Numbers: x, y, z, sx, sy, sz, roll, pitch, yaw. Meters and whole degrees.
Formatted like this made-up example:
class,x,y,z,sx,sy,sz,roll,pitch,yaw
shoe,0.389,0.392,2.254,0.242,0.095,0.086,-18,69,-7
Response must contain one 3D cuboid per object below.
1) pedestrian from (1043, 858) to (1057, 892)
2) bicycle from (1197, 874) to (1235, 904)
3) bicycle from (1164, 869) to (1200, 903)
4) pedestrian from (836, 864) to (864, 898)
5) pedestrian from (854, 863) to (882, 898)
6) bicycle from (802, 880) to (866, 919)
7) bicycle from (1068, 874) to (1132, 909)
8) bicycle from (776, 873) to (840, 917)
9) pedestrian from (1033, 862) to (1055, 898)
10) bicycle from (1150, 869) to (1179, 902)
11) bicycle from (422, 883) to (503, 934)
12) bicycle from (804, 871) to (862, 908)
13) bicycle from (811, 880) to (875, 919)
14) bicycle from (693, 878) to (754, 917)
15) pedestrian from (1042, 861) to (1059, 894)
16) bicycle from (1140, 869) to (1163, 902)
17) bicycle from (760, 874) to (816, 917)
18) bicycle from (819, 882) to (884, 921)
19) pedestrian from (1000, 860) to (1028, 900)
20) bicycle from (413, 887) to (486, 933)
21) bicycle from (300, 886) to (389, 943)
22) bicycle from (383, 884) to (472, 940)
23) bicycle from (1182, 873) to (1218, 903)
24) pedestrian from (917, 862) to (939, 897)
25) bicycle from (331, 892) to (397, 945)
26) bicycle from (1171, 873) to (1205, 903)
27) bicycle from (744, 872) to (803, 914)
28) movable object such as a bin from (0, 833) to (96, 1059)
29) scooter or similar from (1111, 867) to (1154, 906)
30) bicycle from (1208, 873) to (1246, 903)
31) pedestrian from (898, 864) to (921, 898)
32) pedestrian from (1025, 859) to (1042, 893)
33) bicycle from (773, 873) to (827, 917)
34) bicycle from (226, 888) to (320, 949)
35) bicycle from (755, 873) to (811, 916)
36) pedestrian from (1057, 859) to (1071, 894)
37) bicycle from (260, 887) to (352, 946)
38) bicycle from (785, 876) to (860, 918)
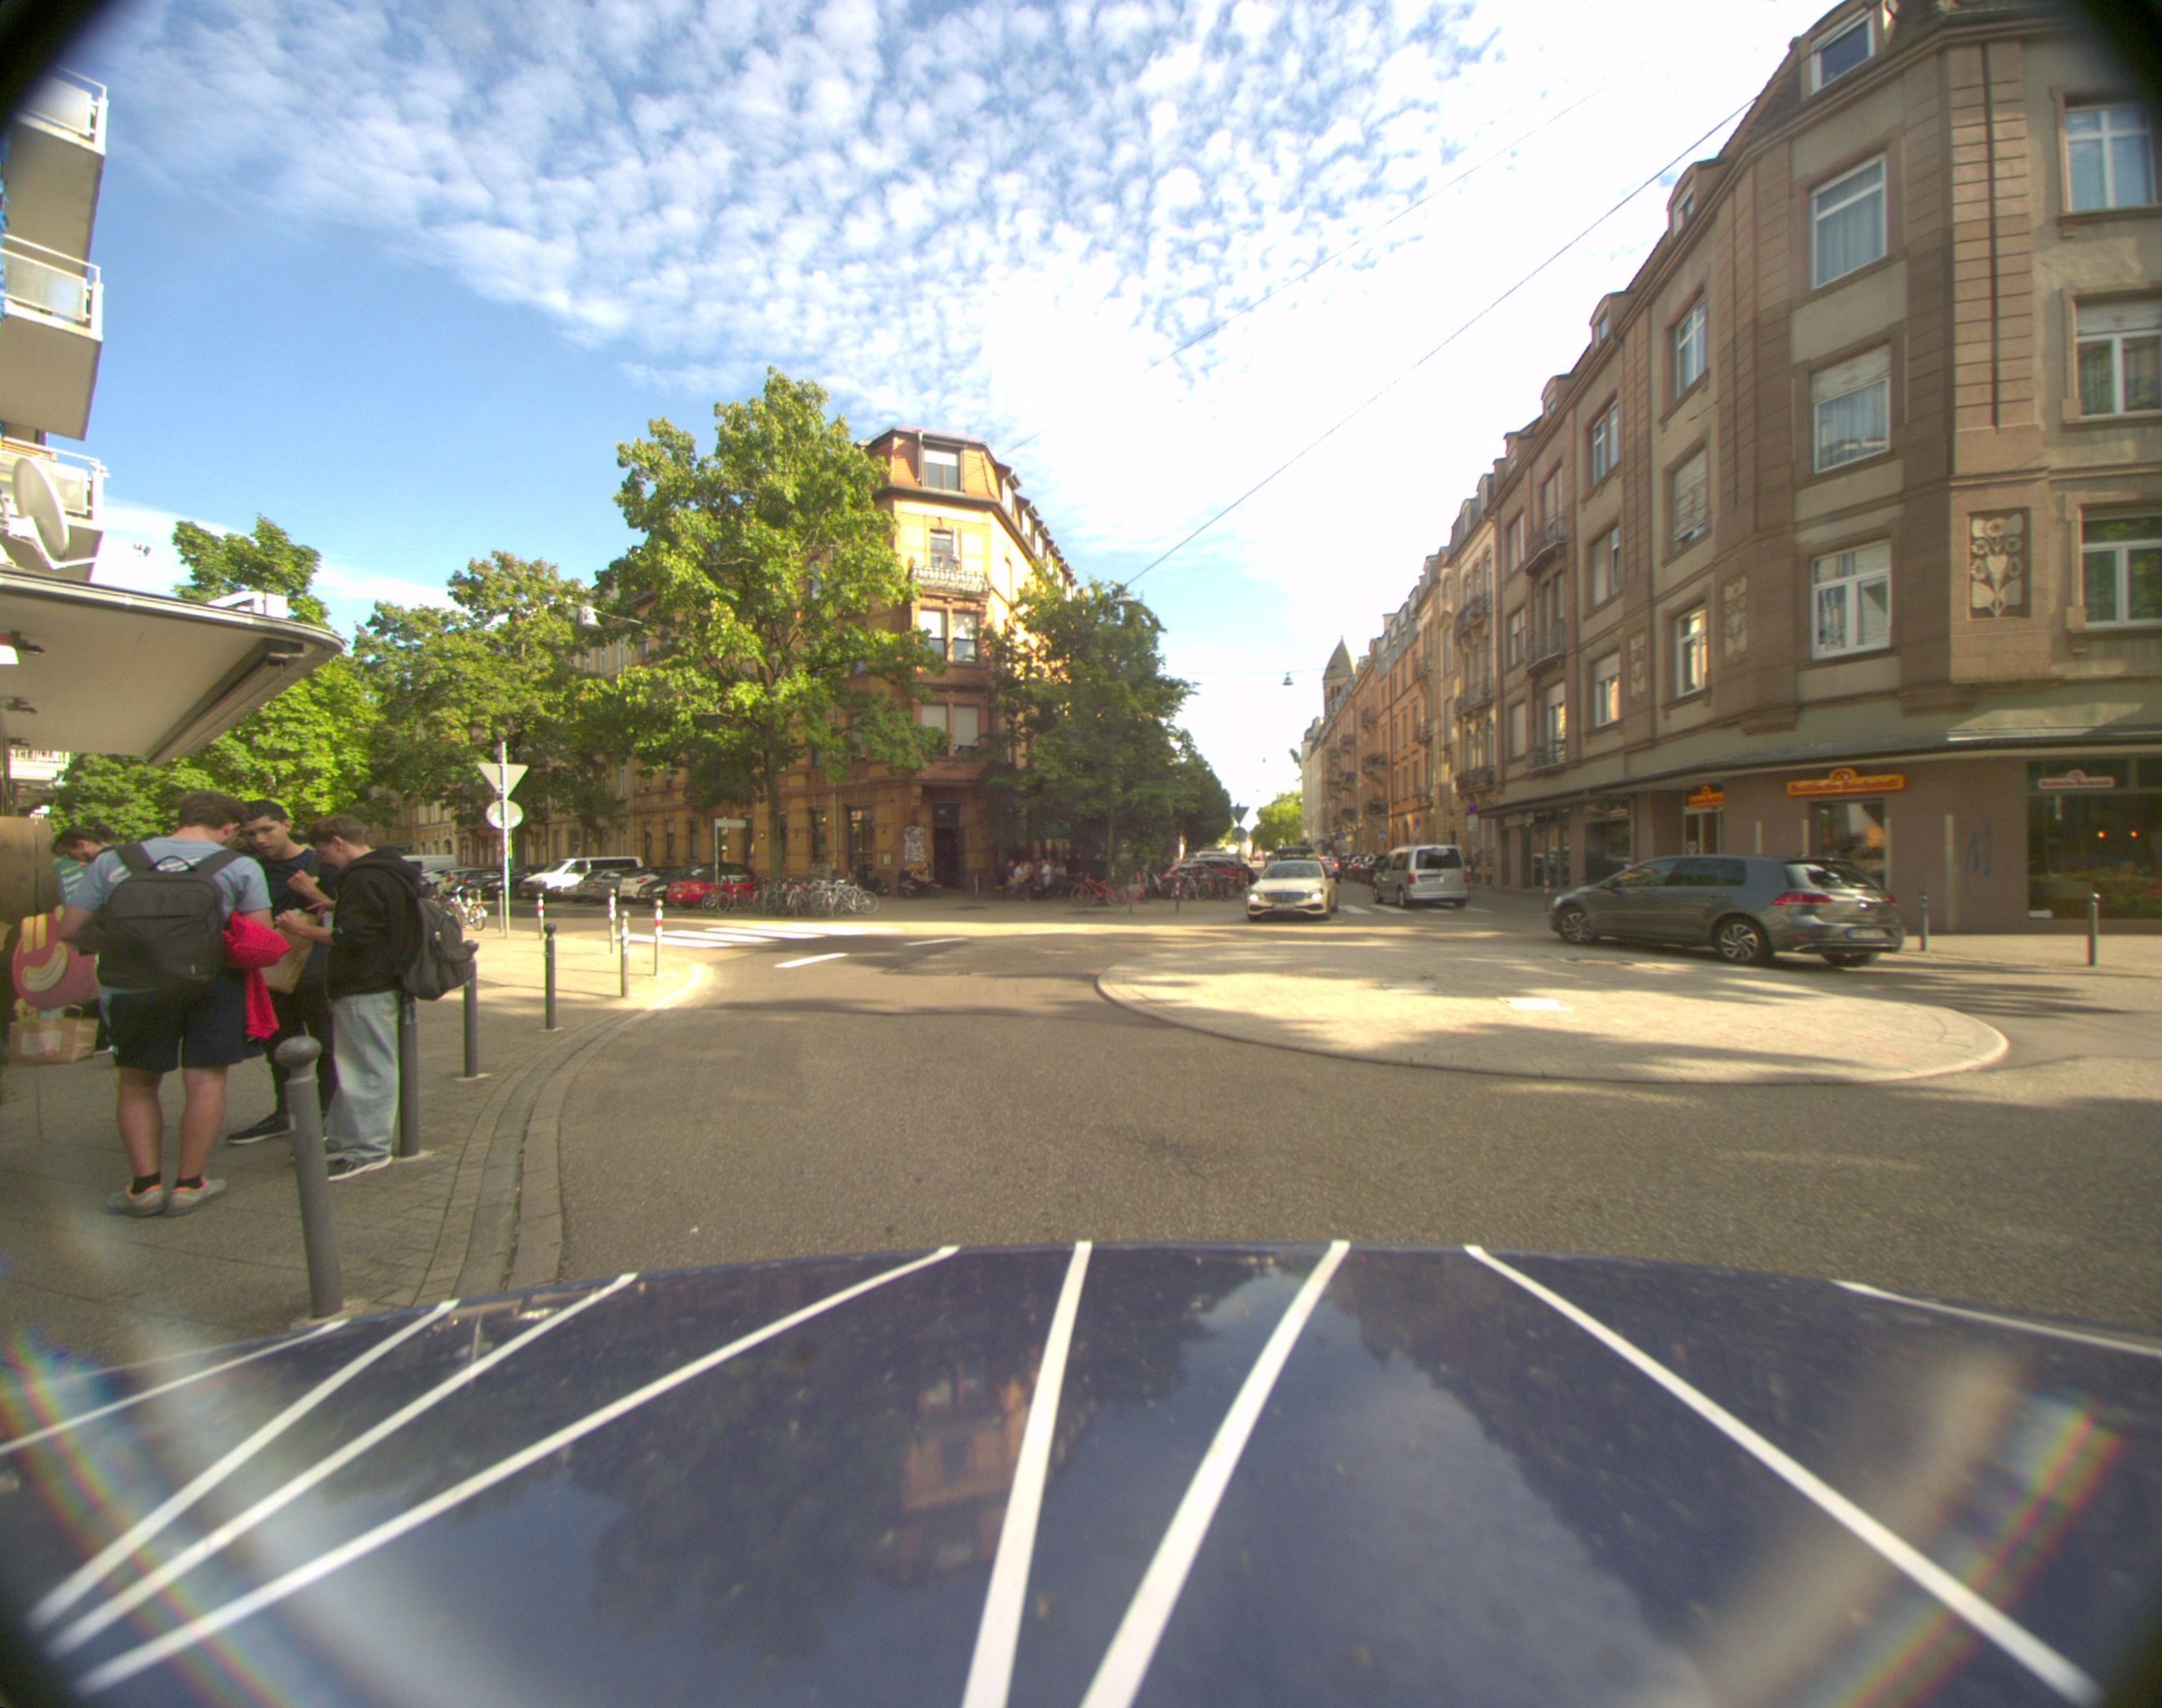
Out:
class,x,y,z,sx,sy,sz,roll,pitch,yaw
pedestrian,-1.240,0.838,30.203,0.467,1.320,0.621,-1,1,-12
bicycle,4.911,1.256,27.777,0.472,0.979,1.862,1,1,-19
bicycle,3.597,1.124,27.087,0.476,1.136,1.835,1,1,-19
pedestrian,-9.059,1.056,29.827,0.627,1.278,0.770,-1,2,35
pedestrian,-8.261,1.025,29.430,0.627,1.278,0.770,-1,2,35
bicycle,-7.188,1.304,22.187,1.715,0.981,0.447,-3,3,-40
bicycle,0.577,1.119,22.888,1.854,1.029,0.684,0,1,11
bicycle,-8.149,1.200,22.713,1.715,1.195,0.447,-3,3,-40
pedestrian,-1.332,0.933,27.444,0.729,1.307,0.608,0,0,0
bicycle,2.999,1.119,27.404,0.475,1.094,1.673,1,1,-13
bicycle,-14.611,1.272,17.940,1.850,1.169,0.414,-1,-1,12
bicycle,-8.384,1.194,25.765,0.598,1.108,1.803,1,3,41
bicycle,-6.843,1.304,21.913,1.715,0.981,0.447,-3,3,-40
bicycle,-11.182,1.326,23.740,2.493,1.090,0.583,0,4,38
pedestrian,-1.161,0.894,29.024,0.549,1.225,0.621,-1,1,-12
bicycle,2.518,1.112,27.279,0.434,1.094,1.673,1,1,-8
bicycle,-9.067,1.259,23.570,0.447,1.195,1.715,0,2,29
bicycle,-6.506,1.323,21.608,1.715,0.964,0.447,-3,3,-40
pedestrian,-2.357,0.901,26.839,0.671,1.371,0.715,-2,1,-43
bicycle,-14.278,1.253,17.189,1.421,0.995,0.493,-1,-1,12
bicycle,-14.778,1.199,15.245,1.695,1.079,0.422,1,0,13
bicycle,-14.081,1.237,16.382,1.850,1.169,0.414,-1,-1,12
bicycle,4.295,1.230,27.556,0.472,0.979,1.862,1,1,-19
pedestrian,-5.872,0.971,29.166,0.510,1.252,0.643,2,4,44
bicycle,-14.659,1.301,15.525,1.498,1.012,0.414,-1,-1,23
bicycle,3.848,1.206,27.400,0.418,0.979,1.835,1,1,-19
bicycle,-9.809,1.226,24.282,0.447,1.195,1.716,1,3,41
movable object such as a bin,-8.935,0.722,6.384,1.545,1.744,0.692,0,-1,34
scooter or similar,1.664,1.047,24.647,1.289,1.203,0.557,0,-1,39
bicycle,5.339,1.235,27.921,0.472,0.979,1.862,1,1,-19
pedestrian,-6.481,1.011,28.657,0.510,1.218,0.643,2,4,44
pedestrian,-1.806,0.829,29.002,0.549,1.293,0.621,-1,1,-12
bicycle,-8.585,1.240,23.292,0.447,1.195,1.715,0,2,23
bicycle,-15.392,1.212,14.481,1.695,1.079,0.422,1,0,13
bicycle,-9.364,1.248,23.965,0.447,1.195,1.715,0,2,29
pedestrian,-0.668,0.878,29.750,0.467,1.320,0.621,-1,1,-12
bicycle,-15.076,1.204,14.783,1.695,1.079,0.422,1,0,13
bicycle,-7.605,1.252,22.420,2.049,1.083,0.447,-3,3,-40
